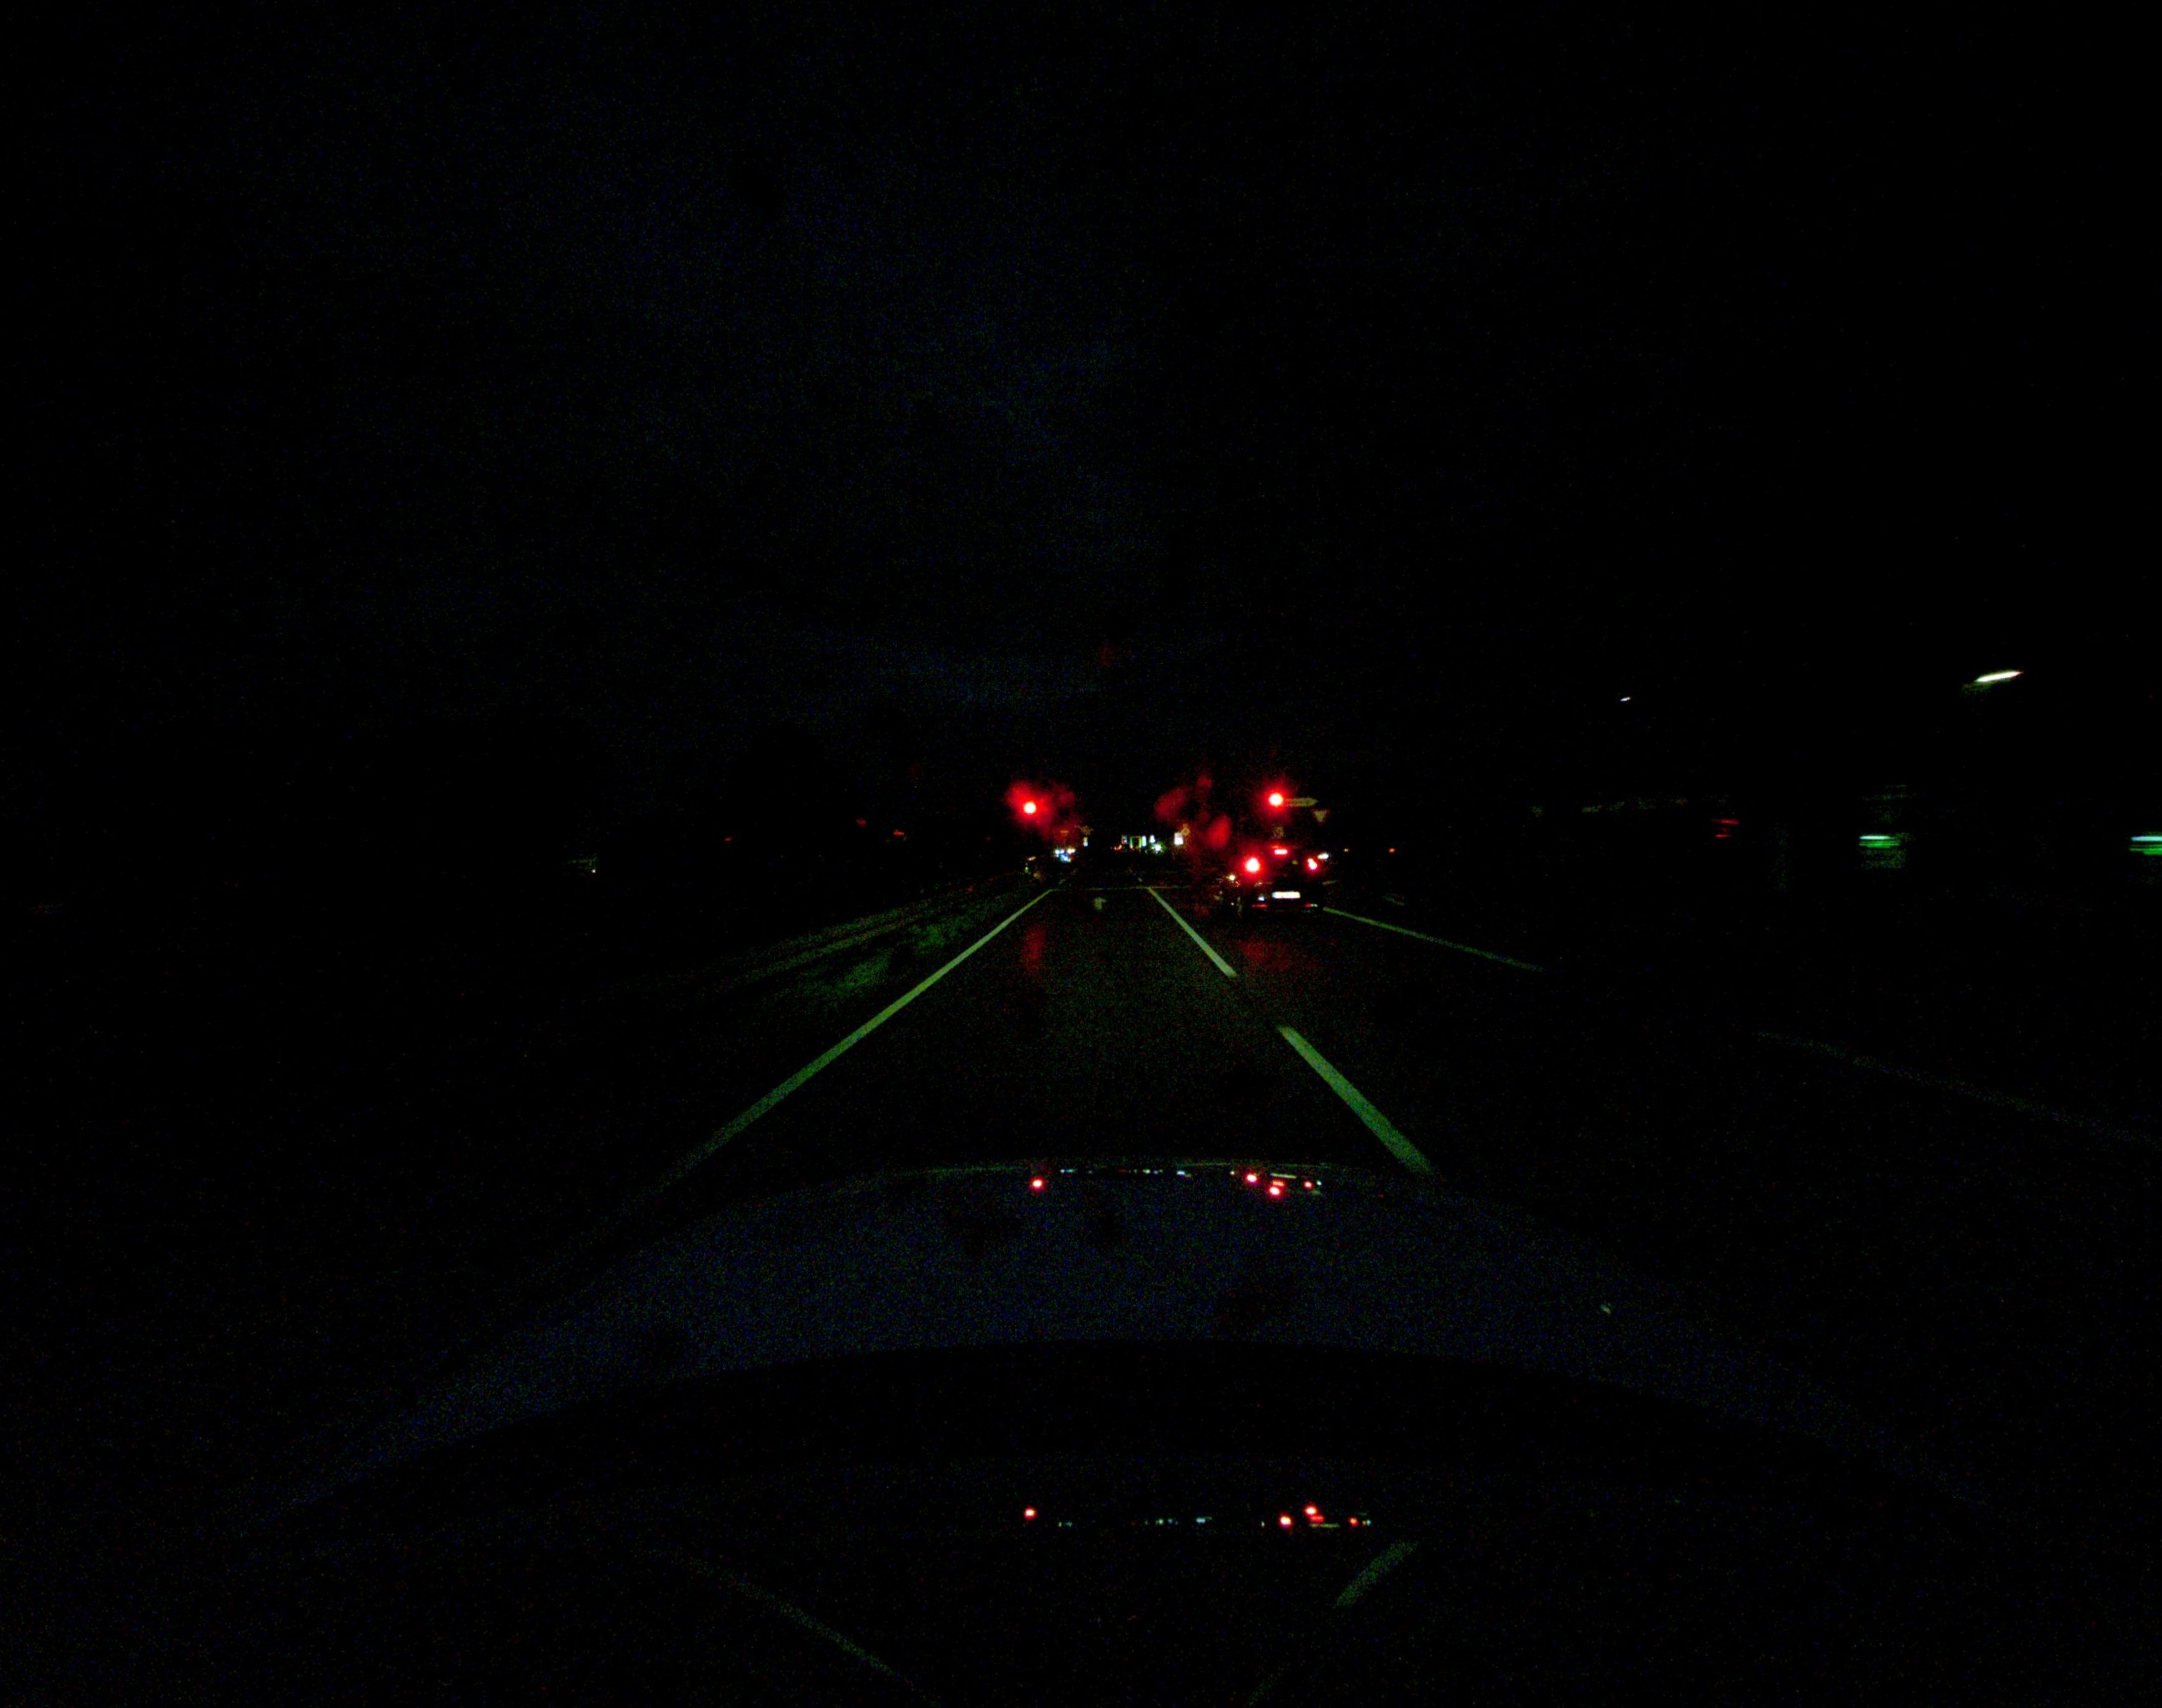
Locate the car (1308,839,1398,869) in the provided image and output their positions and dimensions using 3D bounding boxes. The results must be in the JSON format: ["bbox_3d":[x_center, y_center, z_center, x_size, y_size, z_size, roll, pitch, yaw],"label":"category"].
[{"bbox_3d":[16.011,-0.001,48.093,4.583,1.520,2.001,-3,0,2],"label":"car"}]

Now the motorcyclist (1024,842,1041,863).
[{"bbox_3d":[-3.763,-0.132,63.383,1.137,1.584,0.970,-3,0,-9],"label":"motorcyclist"}]

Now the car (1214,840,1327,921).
[{"bbox_3d":[3.948,0.488,17.610,1.663,1.520,4.109,-1,0,3],"label":"car"}]

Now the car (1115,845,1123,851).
[{"bbox_3d":[11.364,-1.896,246.516,2.266,1.632,4.001,-3,0,1],"label":"car"}]

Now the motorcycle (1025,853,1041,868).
[{"bbox_3d":[-3.754,0.474,63.463,0.979,1.098,2.500,-3,1,-9],"label":"motorcycle"}]

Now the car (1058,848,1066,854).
[{"bbox_3d":[-5.148,-0.934,220.136,1.986,1.519,4.299,-2,1,1],"label":"car"}]
